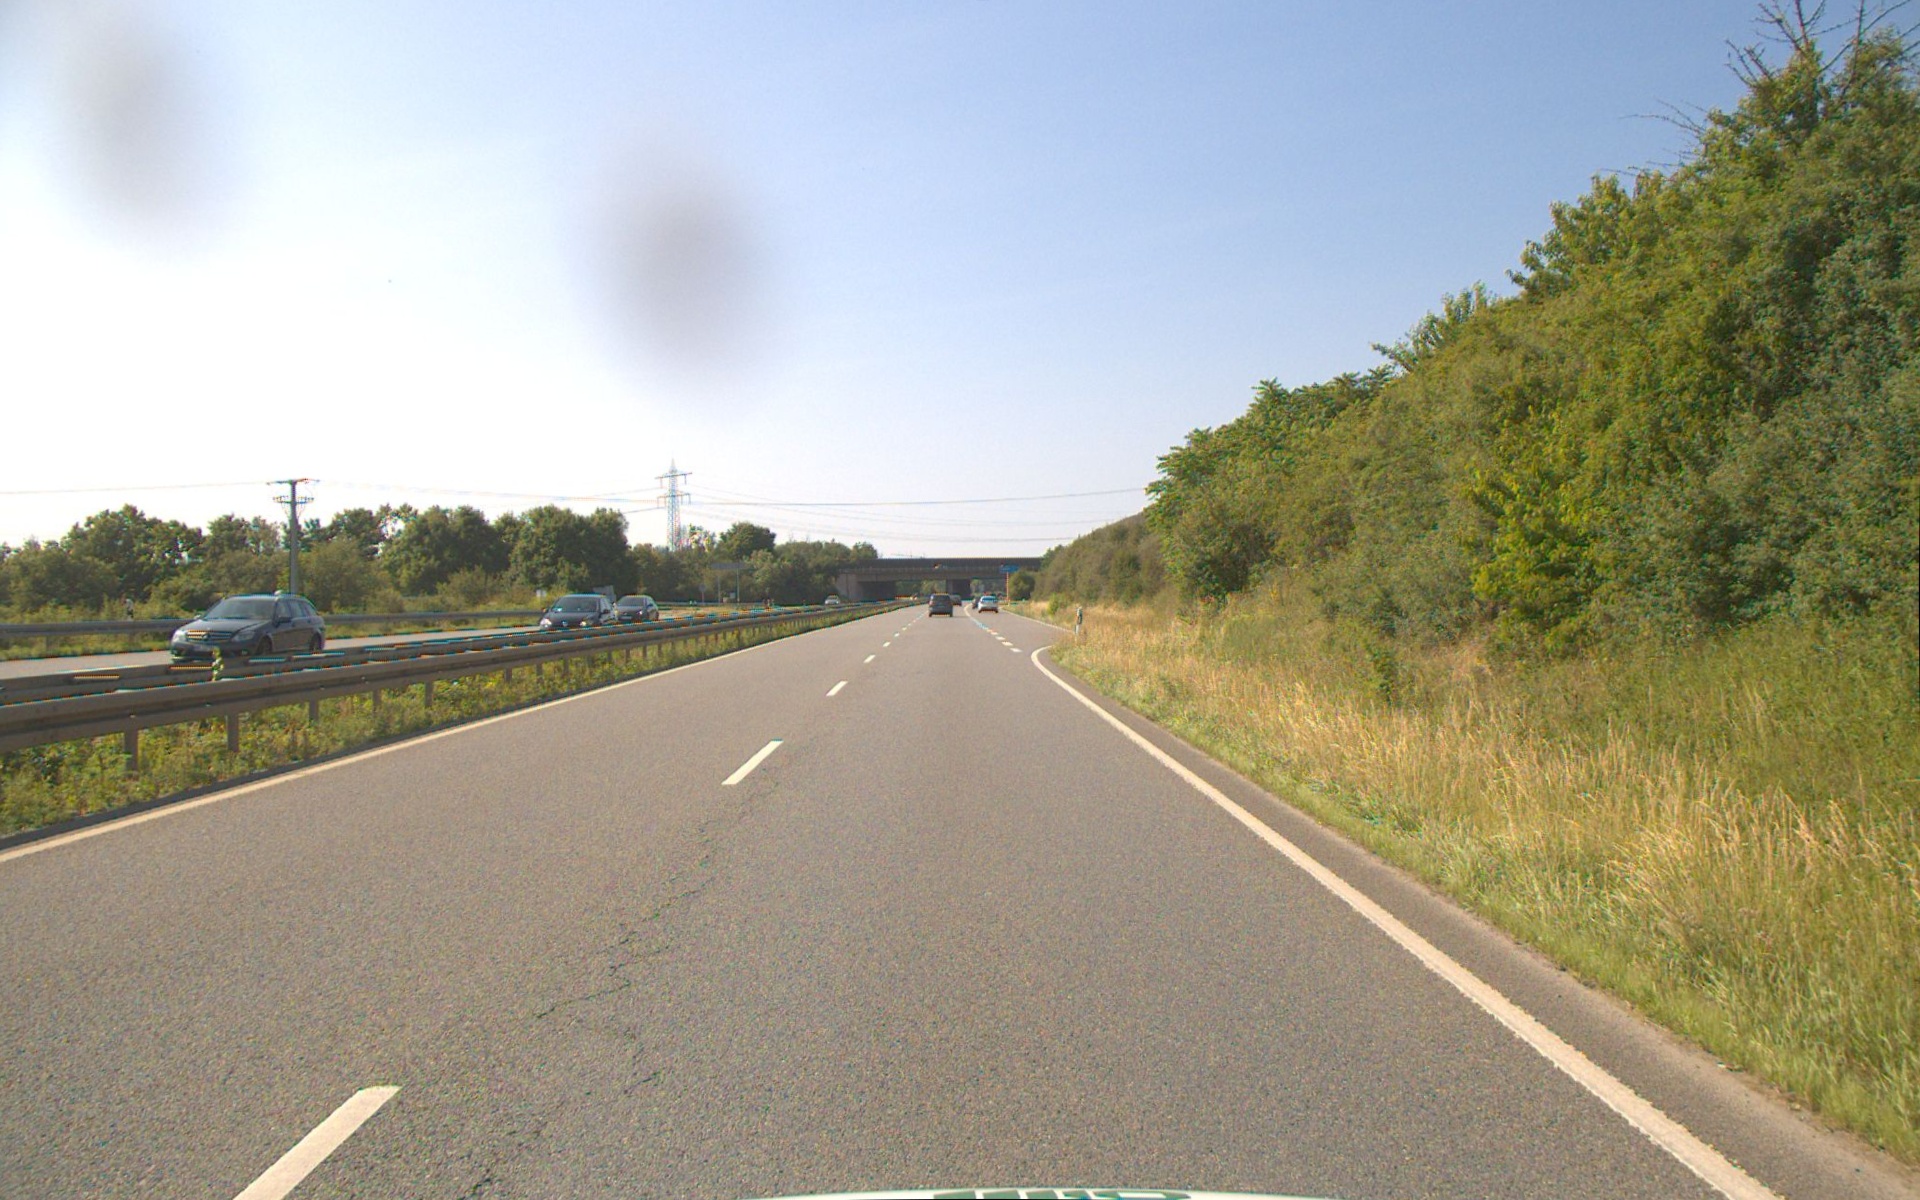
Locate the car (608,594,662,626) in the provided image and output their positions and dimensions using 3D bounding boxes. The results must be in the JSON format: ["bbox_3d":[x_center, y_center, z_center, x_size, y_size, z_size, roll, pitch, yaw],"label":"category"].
[{"bbox_3d":[-15.921,0.484,81.233,1.830,1.459,4.933,1,0,-2],"label":"car"}]

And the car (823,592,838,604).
[{"bbox_3d":[-16.994,-0.247,217.146,1.666,1.511,4.619,2,0,-1],"label":"car"}]

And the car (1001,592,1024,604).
[{"bbox_3d":[6.370,-0.227,200.227,1.861,1.320,4.003,2,1,15],"label":"car"}]

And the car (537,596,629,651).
[{"bbox_3d":[-11.259,0.674,49.653,1.778,1.498,4.323,1,1,-1],"label":"car"}]

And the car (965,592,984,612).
[{"bbox_3d":[1.559,0.232,179.802,1.953,2.048,3.999,-2,0,-1],"label":"car"}]

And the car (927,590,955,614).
[{"bbox_3d":[-1.369,0.159,119.752,1.811,1.673,4.001,0,0,2],"label":"car"}]

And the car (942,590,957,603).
[{"bbox_3d":[-1.403,-0.484,222.727,1.811,1.673,4.001,0,0,2],"label":"car"}]

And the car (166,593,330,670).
[{"bbox_3d":[-14.678,0.605,34.350,1.678,1.475,4.321,0,0,-2],"label":"car"}]

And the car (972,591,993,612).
[{"bbox_3d":[1.961,0.110,144.940,1.759,1.694,4.001,1,1,2],"label":"car"}]
